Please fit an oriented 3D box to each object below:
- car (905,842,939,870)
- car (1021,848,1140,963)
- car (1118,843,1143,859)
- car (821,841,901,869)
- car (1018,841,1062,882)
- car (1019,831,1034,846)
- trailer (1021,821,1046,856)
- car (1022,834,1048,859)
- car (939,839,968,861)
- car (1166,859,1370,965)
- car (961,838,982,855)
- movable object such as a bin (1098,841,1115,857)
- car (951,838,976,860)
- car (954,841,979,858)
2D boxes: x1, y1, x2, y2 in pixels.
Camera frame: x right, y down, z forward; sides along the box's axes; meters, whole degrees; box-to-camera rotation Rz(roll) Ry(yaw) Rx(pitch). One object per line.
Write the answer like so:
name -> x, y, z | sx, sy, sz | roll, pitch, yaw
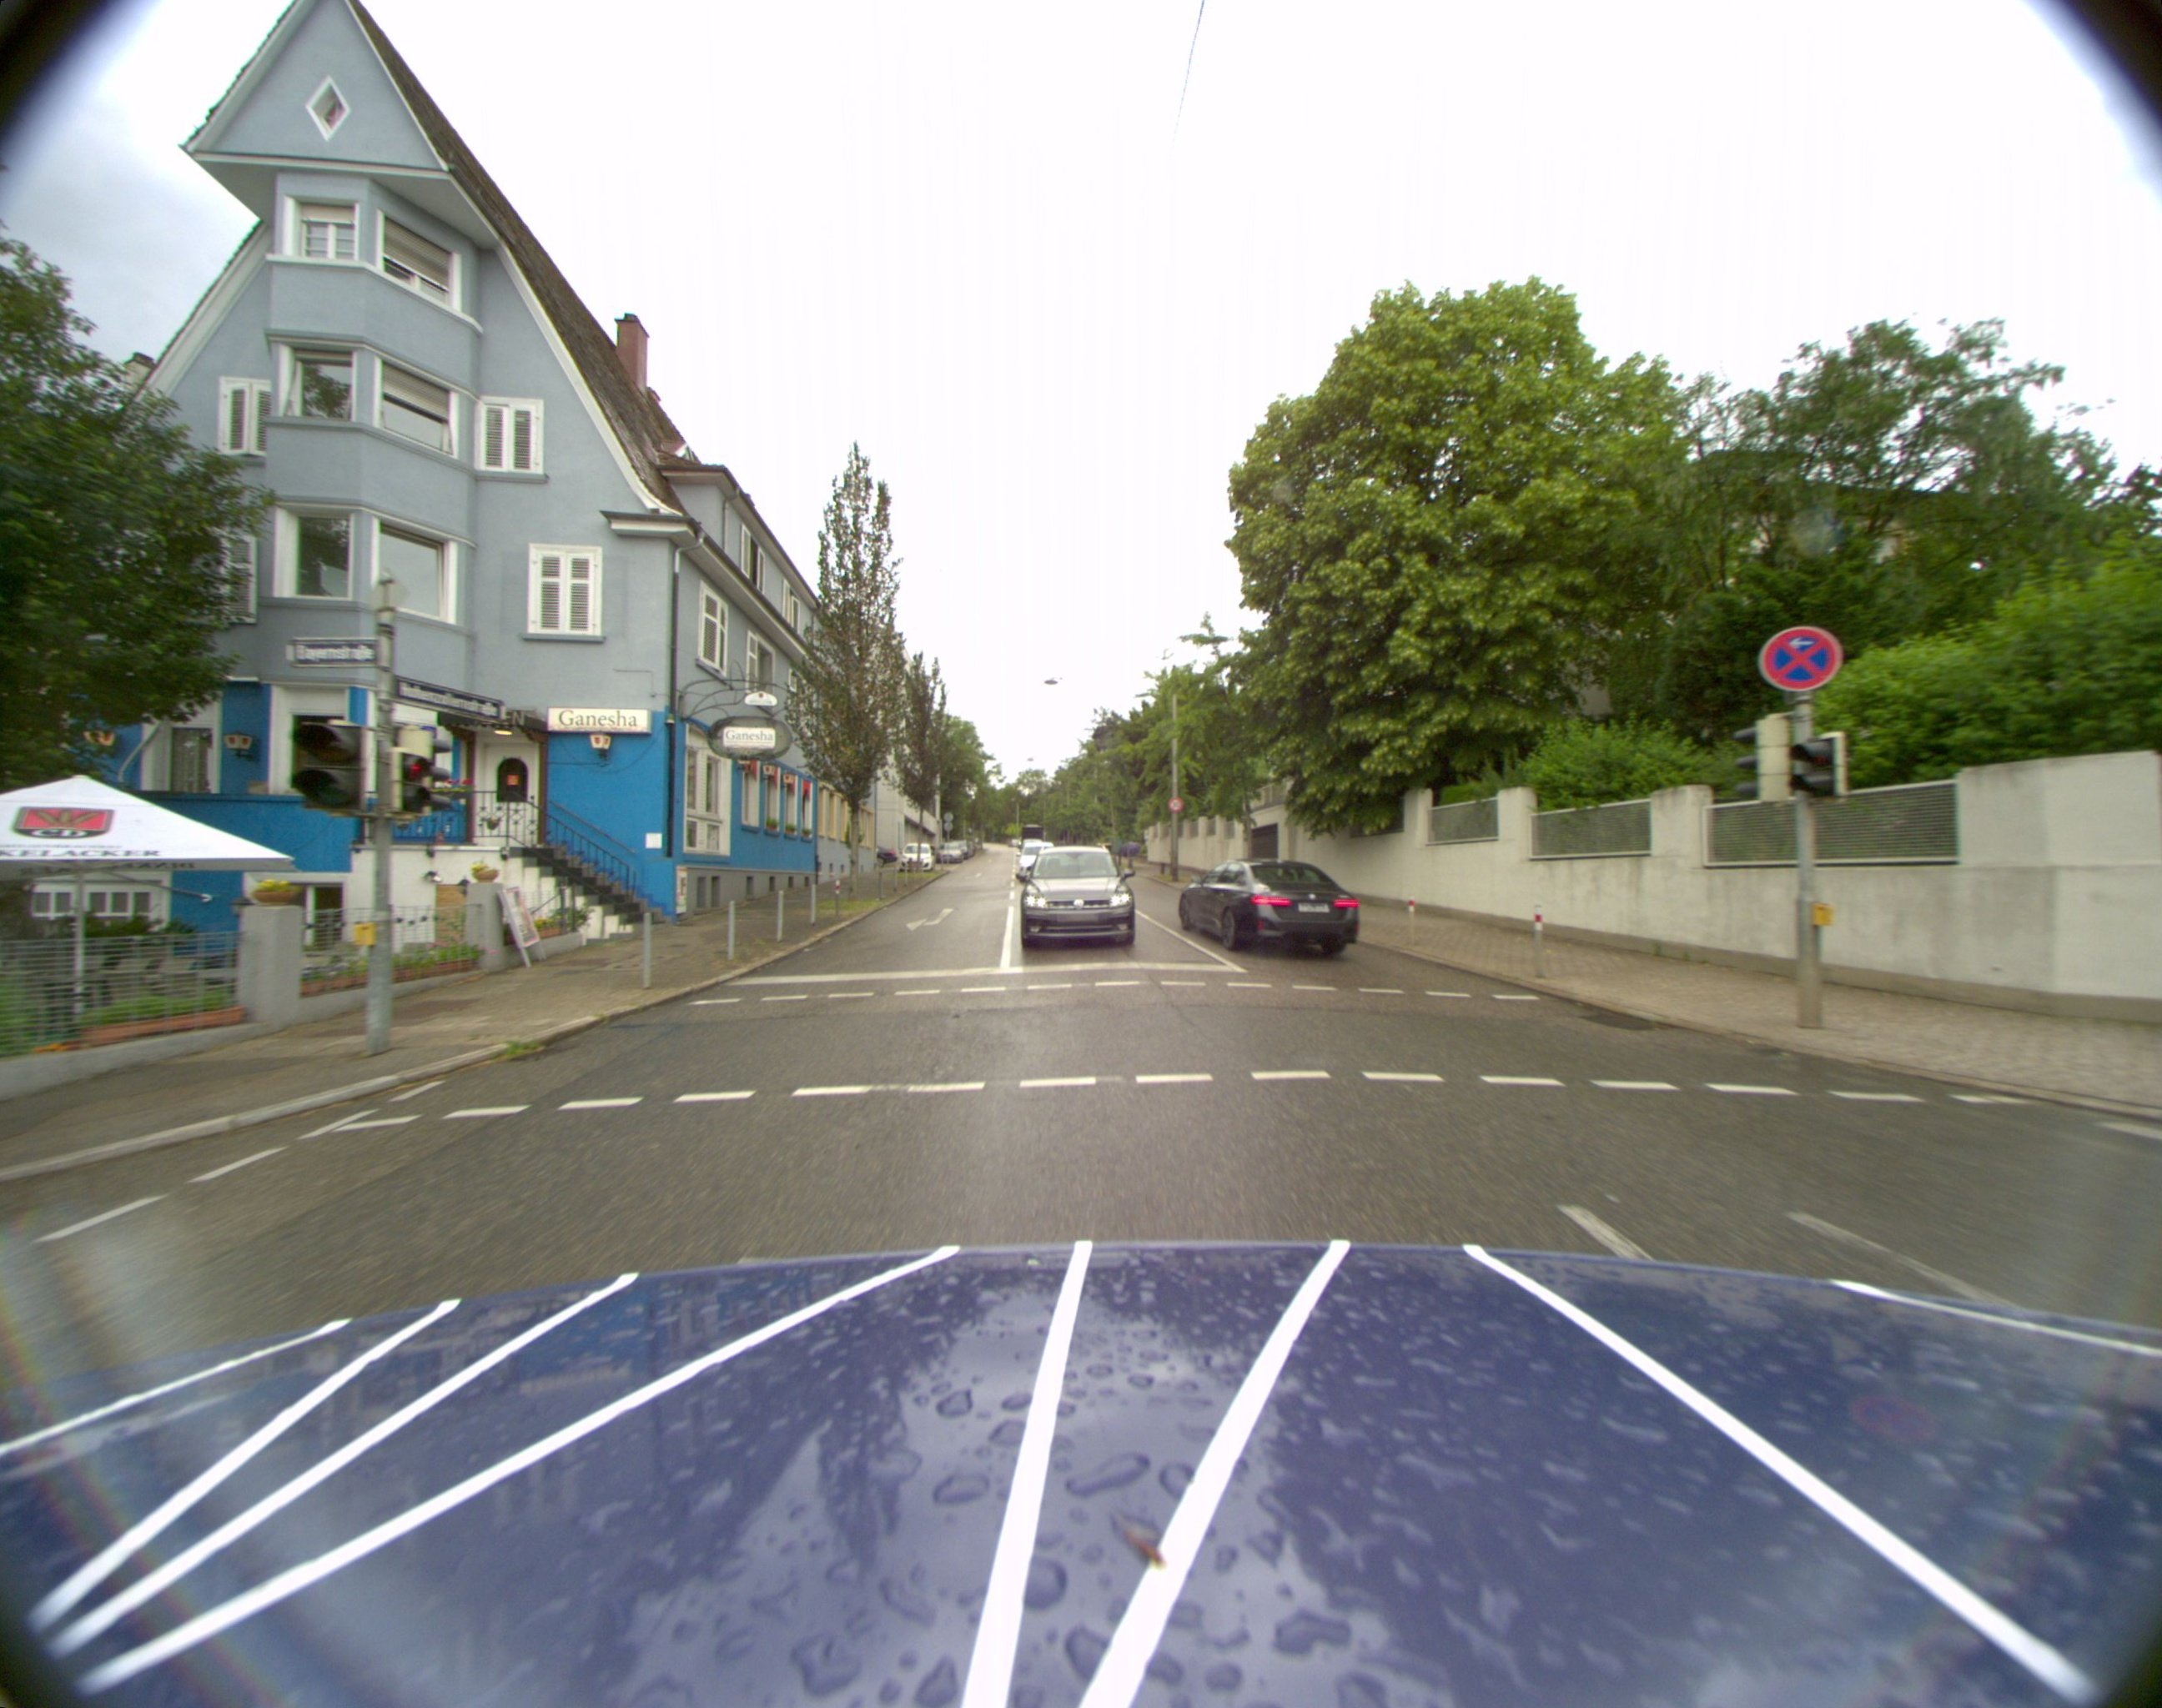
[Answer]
car -> -8.401, 0.098, 40.357 | 1.592, 1.404, 3.453 | 0, 1, -9
car -> -0.153, 0.760, 13.525 | 1.786, 1.632, 4.197 | 0, 2, -4
car -> 4.898, -0.345, 75.789 | 1.857, 1.483, 3.862 | -1, 1, -6
car -> -13.060, 0.033, 45.071 | 4.372, 1.399, 1.805 | -2, 3, -20
car -> -1.863, 0.281, 33.602 | 1.786, 1.632, 4.197 | 0, 2, -5
car -> -7.583, -2.132, 105.469 | 1.999, 2.003, 3.996 | 0, 3, -5
trailer -> -3.568, -1.200, 56.977 | 1.771, 2.611, 3.030 | -1, 3, -5
car -> -3.287, -0.559, 53.792 | 1.737, 1.610, 3.472 | -1, 3, -6
car -> -9.101, -0.301, 54.607 | 1.820, 1.451, 4.737 | 0, 2, -7
car -> 3.039, 0.853, 13.743 | 1.858, 1.477, 5.363 | 0, 0, -6
car -> -10.590, -0.763, 73.757 | 1.844, 1.436, 4.152 | 3, 2, -6
movable object such as a bin -> 2.244, -0.425, 66.938 | 1.227, 1.343, 1.121 | 0, 2, -13
car -> -9.682, -0.456, 62.708 | 1.750, 1.665, 4.341 | 0, 2, -5
car -> -10.174, -0.454, 67.713 | 1.711, 1.436, 4.095 | 0, 2, -2
